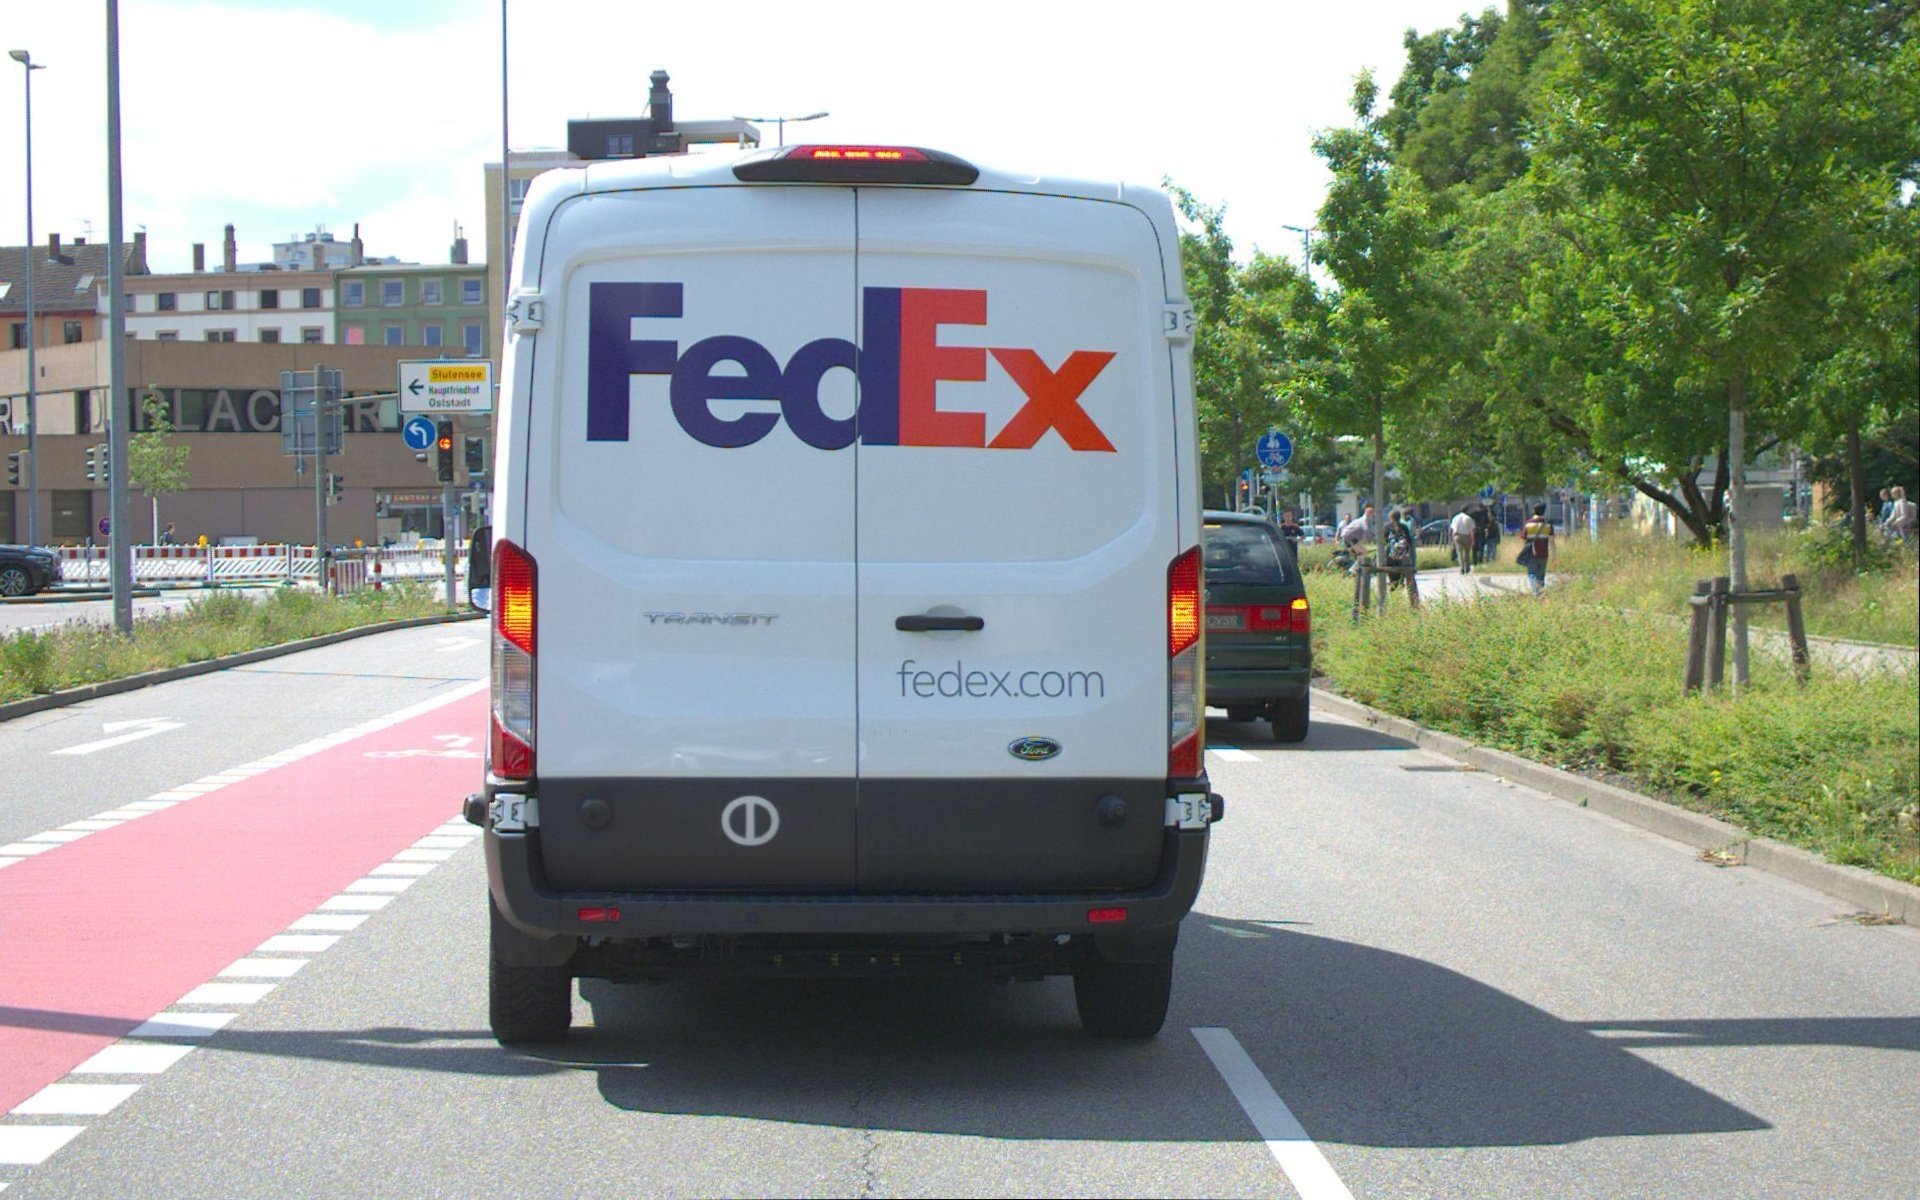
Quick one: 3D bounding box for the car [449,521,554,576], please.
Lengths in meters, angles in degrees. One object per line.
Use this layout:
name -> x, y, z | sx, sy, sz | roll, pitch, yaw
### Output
car -> -13.829, -1.558, 103.895 | 1.902, 1.579, 3.998 | -1, 1, 12

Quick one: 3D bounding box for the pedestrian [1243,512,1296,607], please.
pedestrian -> 6.242, -0.820, 69.358 | 0.950, 1.886, 0.774 | -1, 1, -2

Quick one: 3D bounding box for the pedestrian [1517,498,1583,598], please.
pedestrian -> 9.152, -0.809, 53.382 | 0.845, 1.533, 0.835 | -1, 1, -2

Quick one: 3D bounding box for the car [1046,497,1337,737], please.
car -> 1.726, 0.065, 27.034 | 1.812, 1.728, 4.389 | 0, 1, -2

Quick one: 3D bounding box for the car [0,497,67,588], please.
car -> -22.627, -1.259, 77.384 | 4.627, 2.007, 2.100 | -1, 1, -6

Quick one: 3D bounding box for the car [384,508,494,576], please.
car -> -15.875, -1.756, 104.882 | 1.994, 2.007, 3.998 | -1, 1, 12

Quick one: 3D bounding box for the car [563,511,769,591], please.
car -> -6.856, -1.147, 80.130 | 4.356, 1.787, 2.000 | -1, 1, -22

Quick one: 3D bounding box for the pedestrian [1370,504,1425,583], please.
pedestrian -> 7.708, -0.997, 60.609 | 0.845, 1.384, 0.741 | -1, 1, -2

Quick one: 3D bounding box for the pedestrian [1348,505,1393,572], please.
pedestrian -> 9.115, -1.367, 76.380 | 0.900, 1.467, 0.485 | 0, 1, 17

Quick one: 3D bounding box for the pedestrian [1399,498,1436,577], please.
pedestrian -> 10.954, -1.494, 82.299 | 0.679, 1.886, 0.574 | 1, 2, 42

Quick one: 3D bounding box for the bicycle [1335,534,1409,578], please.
bicycle -> 9.156, -0.970, 76.384 | 1.571, 0.952, 0.485 | 0, 1, 17

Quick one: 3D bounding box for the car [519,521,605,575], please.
car -> -12.722, -1.662, 110.118 | 1.879, 1.646, 3.999 | -1, 1, 6

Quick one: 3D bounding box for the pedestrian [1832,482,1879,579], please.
pedestrian -> 19.133, -1.487, 73.458 | 0.846, 2.051, 0.740 | 0, 2, 26

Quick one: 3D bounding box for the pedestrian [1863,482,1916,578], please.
pedestrian -> 20.164, -1.519, 74.585 | 0.738, 2.051, 0.848 | -1, 1, -18

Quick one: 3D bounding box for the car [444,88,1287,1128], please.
car -> -0.535, -0.066, 11.686 | 2.140, 2.643, 5.705 | -1, 2, -6
